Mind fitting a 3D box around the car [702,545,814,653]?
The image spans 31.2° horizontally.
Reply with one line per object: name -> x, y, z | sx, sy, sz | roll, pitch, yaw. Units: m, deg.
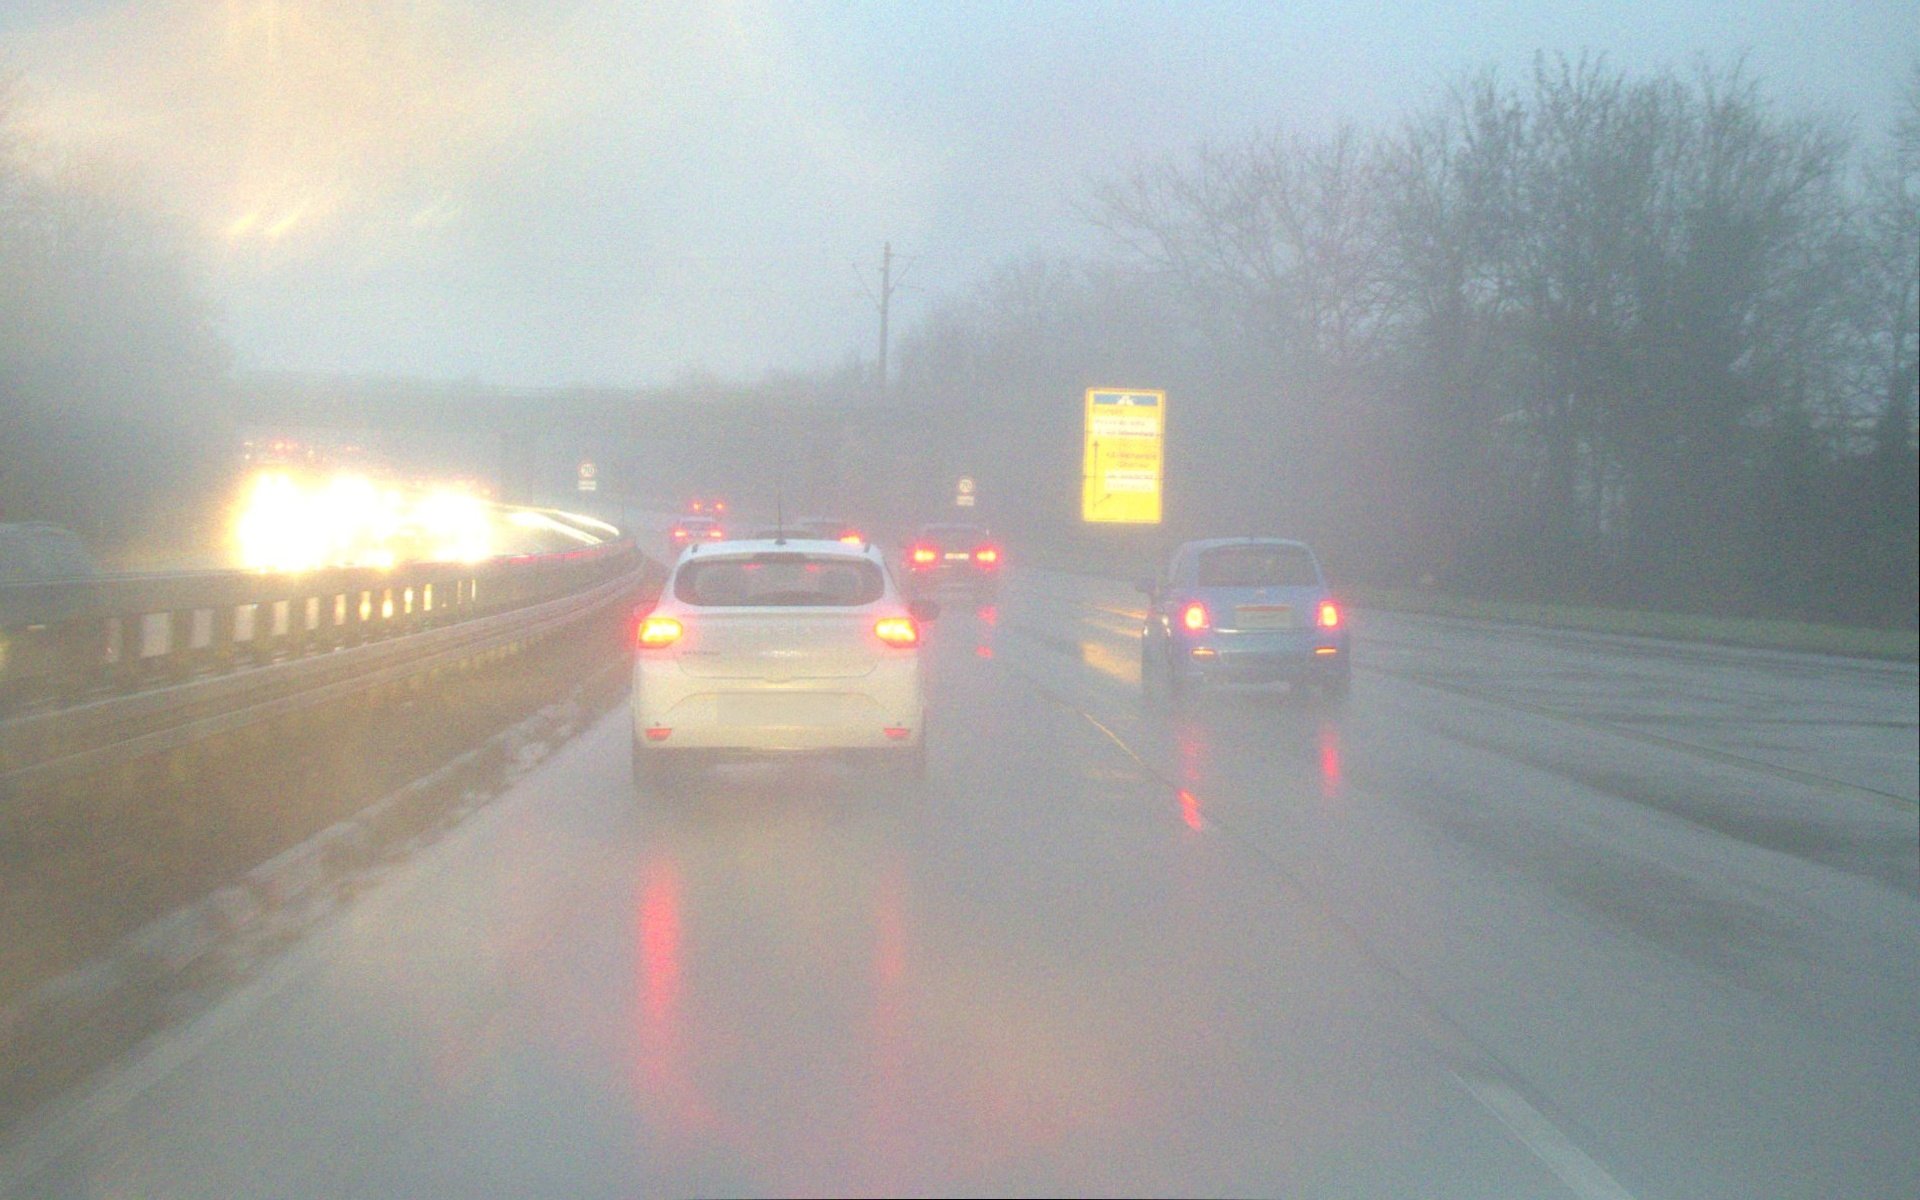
car -> -3.936, -0.048, 67.465 | 1.993, 2.007, 4.000 | 1, 1, -1

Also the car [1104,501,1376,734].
car -> 2.562, 0.127, 32.334 | 1.932, 2.012, 3.774 | 1, 1, -4

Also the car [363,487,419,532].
car -> -24.141, -3.838, 146.071 | 1.883, 1.826, 4.788 | 1, 1, -4

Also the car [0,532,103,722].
car -> -8.348, 0.175, 28.169 | 1.616, 1.479, 4.600 | 1, 1, -2

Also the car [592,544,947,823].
car -> -1.148, 0.455, 21.940 | 2.024, 1.569, 4.000 | 1, 1, -1

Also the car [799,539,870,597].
car -> -3.565, -0.919, 97.468 | 1.932, 1.541, 3.774 | 1, 1, -2

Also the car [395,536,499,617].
car -> -10.164, -0.478, 68.238 | 1.653, 1.514, 3.505 | 1, 1, -3

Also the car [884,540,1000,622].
car -> -0.402, -0.382, 72.973 | 1.932, 1.541, 3.774 | -5, 0, -7

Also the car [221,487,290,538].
car -> -26.183, -3.245, 127.940 | 1.880, 1.826, 4.788 | 1, 1, -4
